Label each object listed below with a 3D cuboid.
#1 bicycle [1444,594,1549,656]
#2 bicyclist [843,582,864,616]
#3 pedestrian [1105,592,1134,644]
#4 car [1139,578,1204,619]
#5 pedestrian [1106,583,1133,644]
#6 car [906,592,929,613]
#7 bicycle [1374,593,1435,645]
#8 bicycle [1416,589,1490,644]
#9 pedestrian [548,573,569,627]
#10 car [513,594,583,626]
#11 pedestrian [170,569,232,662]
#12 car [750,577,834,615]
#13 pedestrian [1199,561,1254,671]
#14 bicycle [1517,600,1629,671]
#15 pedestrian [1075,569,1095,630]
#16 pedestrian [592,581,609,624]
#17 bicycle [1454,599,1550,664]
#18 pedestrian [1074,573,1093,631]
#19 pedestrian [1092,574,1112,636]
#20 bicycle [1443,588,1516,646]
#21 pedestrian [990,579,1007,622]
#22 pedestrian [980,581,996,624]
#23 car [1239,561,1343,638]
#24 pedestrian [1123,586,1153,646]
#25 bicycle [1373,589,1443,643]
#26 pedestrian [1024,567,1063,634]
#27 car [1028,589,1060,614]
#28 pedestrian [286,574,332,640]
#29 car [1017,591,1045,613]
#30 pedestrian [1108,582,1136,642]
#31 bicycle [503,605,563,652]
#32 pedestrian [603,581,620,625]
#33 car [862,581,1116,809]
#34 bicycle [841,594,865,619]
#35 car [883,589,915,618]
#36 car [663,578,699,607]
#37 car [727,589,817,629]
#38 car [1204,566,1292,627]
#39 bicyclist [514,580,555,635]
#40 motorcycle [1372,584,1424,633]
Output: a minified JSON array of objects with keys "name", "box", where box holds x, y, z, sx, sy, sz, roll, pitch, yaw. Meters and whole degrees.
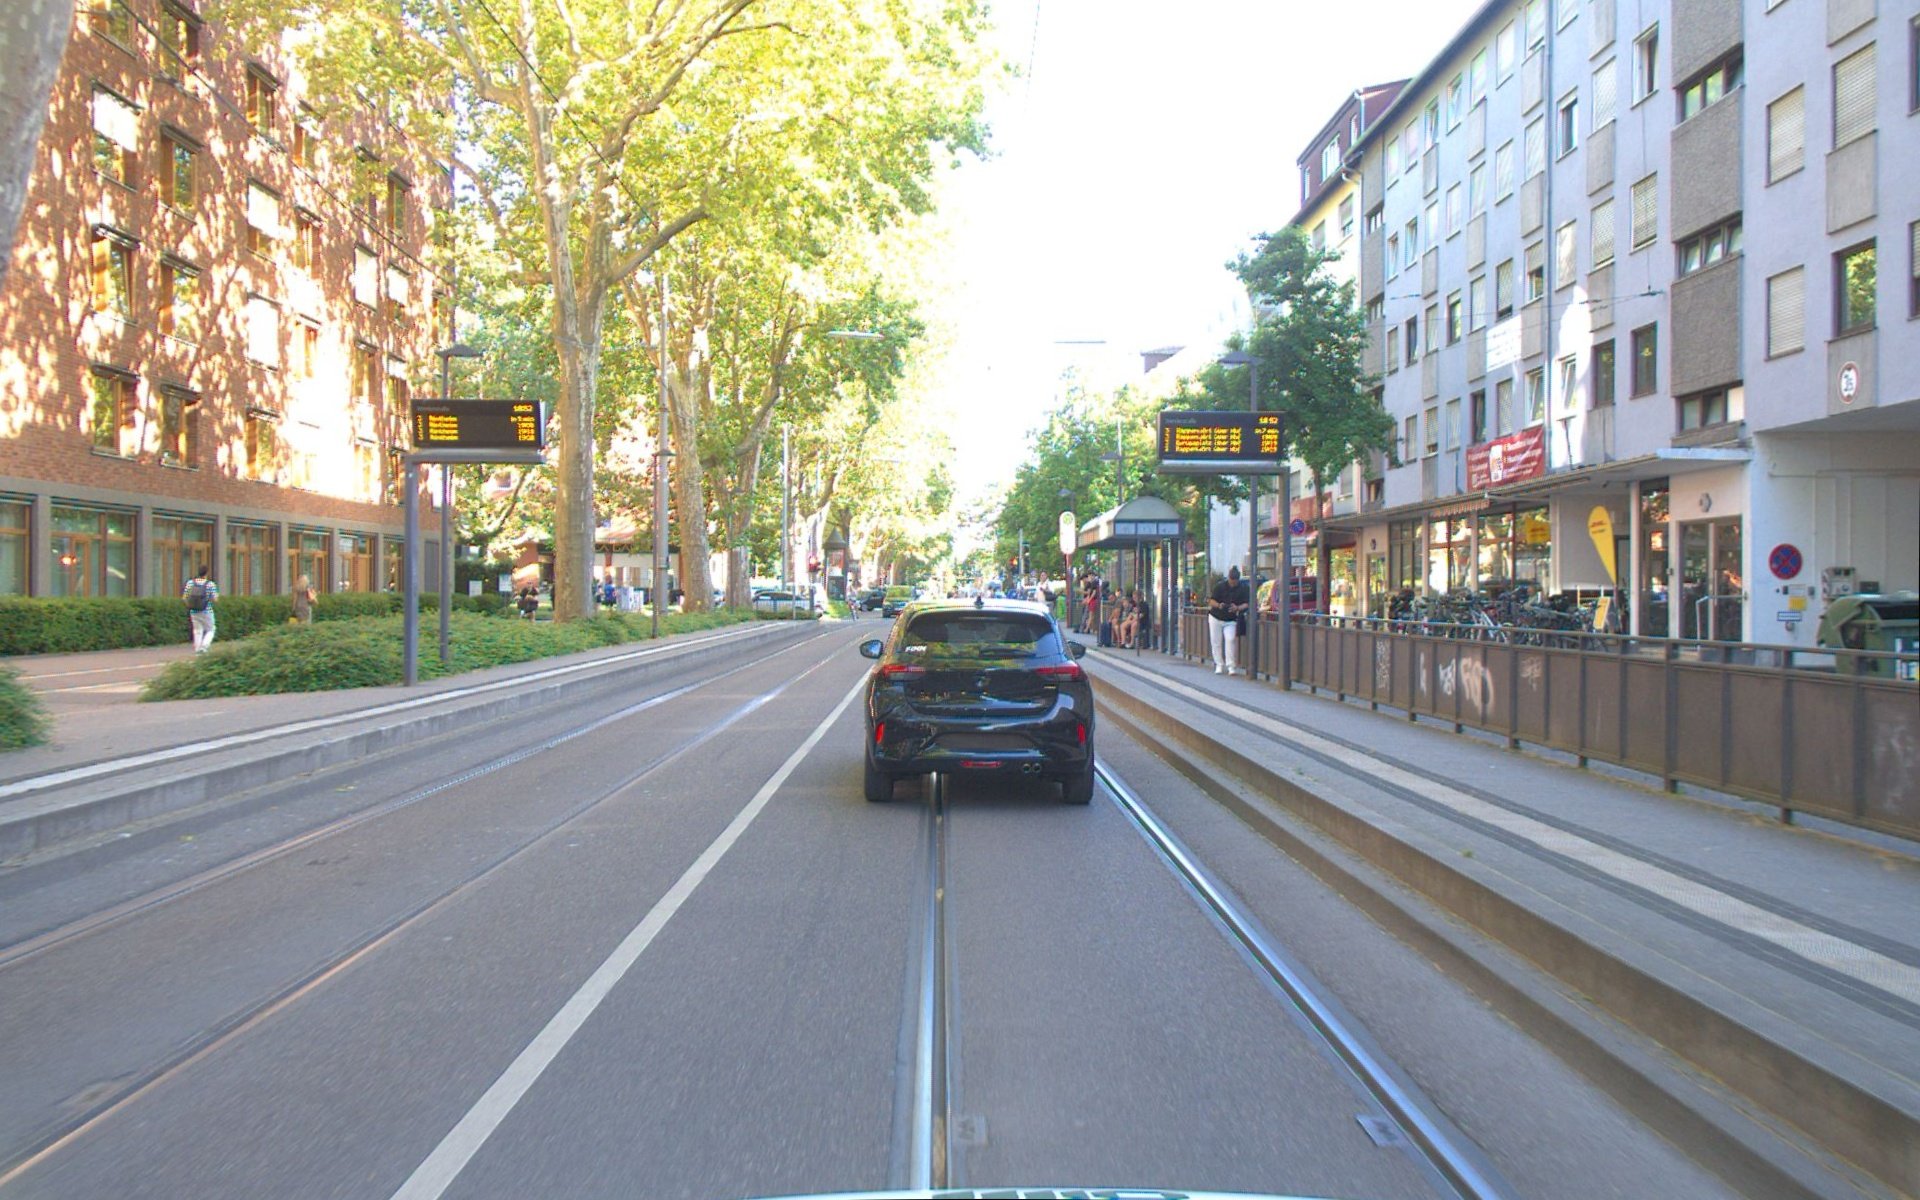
[{"name":"bicycle","box":[10.522,0.474,32.582,0.600,1.156,2.913,1,0,-12]},{"name":"bicyclist","box":[-5.473,-0.058,84.920,0.921,1.732,1.153,1,0,2]},{"name":"pedestrian","box":[3.473,0.390,35.984,0.523,1.119,0.550,1,0,-5]},{"name":"car","box":[8.183,-0.039,64.279,1.953,1.512,3.999,1,0,-1]},{"name":"pedestrian","box":[3.520,0.294,36.499,0.493,1.327,0.428,1,0,-5]},{"name":"car","box":[-3.684,0.222,143.363,1.953,1.723,3.998,1,0,-2]},{"name":"bicycle","box":[10.346,0.428,38.579,0.586,1.156,2.201,1,0,-6]},{"name":"bicycle","box":[10.755,0.358,36.161,0.587,1.156,2.197,1,0,-12]},{"name":"pedestrian","box":[-14.886,0.003,61.350,0.486,1.984,0.675,1,0,11]},{"name":"car","box":[-27.528,0.640,110.510,4.163,2.049,2.000,1,0,-1]},{"name":"pedestrian","box":[-14.186,0.287,30.931,0.720,1.701,0.860,1,0,-1]},{"name":"car","box":[-8.782,-0.193,86.444,4.302,1.884,1.996,1,0,-8]},{"name":"pedestrian","box":[4.024,0.237,24.987,0.618,1.603,0.870,2,0,-1]},{"name":"bicycle","box":[10.605,0.593,28.715,0.610,1.156,2.432,1,0,-12]},{"name":"pedestrian","box":[3.636,-0.016,48.047,0.520,1.739,0.752,1,0,1]},{"name":"pedestrian","box":[-16.663,0.108,76.729,0.659,1.984,0.497,2,0,-4]},{"name":"bicycle","box":[10.179,0.572,31.167,0.592,1.156,2.427,1,0,-12]},{"name":"pedestrian","box":[3.690,0.061,49.444,0.520,1.739,0.596,1,0,1]},{"name":"pedestrian","box":[4.185,0.149,48.776,0.520,1.793,0.661,1,0,1]},{"name":"bicycle","box":[10.726,0.343,34.207,0.403,1.156,2.197,1,0,-12]},{"name":"pedestrian","box":[1.838,0.025,78.714,0.661,2.048,0.702,2,1,11]},{"name":"pedestrian","box":[1.354,0.110,79.530,0.661,2.048,0.701,2,1,5]},{"name":"car","box":[9.026,-0.004,45.405,1.953,1.986,3.999,1,0,-2]},{"name":"pedestrian","box":[3.818,0.343,35.470,0.523,1.252,0.510,1,0,-5]},{"name":"bicycle","box":[10.046,0.348,37.158,0.587,1.156,2.197,1,0,-12]},{"name":"pedestrian","box":[2.216,0.015,43.899,0.736,1.739,0.761,1,0,34]},{"name":"car","box":[5.867,0.113,116.129,1.953,1.661,3.999,1,0,-1]},{"name":"pedestrian","box":[-16.431,0.168,41.753,0.759,1.633,0.946,1,0,-1]},{"name":"car","box":[5.535,0.129,128.844,1.953,1.661,3.999,1,0,-1]},{"name":"pedestrian","box":[3.631,0.277,37.046,0.523,1.327,0.550,1,0,-5]},{"name":"bicycle","box":[-12.052,0.795,46.803,0.935,1.262,2.977,1,0,-1]},{"name":"pedestrian","box":[-15.978,0.132,75.807,0.659,1.984,0.497,2,0,-4]},{"name":"car","box":[0.108,0.645,13.086,1.724,1.534,3.681,0,0,-3]},{"name":"bicycle","box":[-5.479,0.346,84.968,0.935,1.262,2.978,1,0,2]},{"name":"car","box":[-3.414,0.213,92.524,1.710,1.571,3.998,1,0,-2]},{"name":"car","box":[-20.035,-0.528,118.961,1.953,2.049,3.999,1,0,-1]},{"name":"car","box":[-8.617,0.422,75.642,4.037,1.730,1.880,1,0,-8]},{"name":"car","box":[9.044,-0.093,52.254,1.953,1.829,3.999,1,0,-2]},{"name":"bicyclist","box":[-12.038,0.205,46.804,0.935,1.518,0.837,1,0,-1]},{"name":"motorcycle","box":[12.216,0.233,46.183,0.874,1.302,2.042,1,0,-1]}]
